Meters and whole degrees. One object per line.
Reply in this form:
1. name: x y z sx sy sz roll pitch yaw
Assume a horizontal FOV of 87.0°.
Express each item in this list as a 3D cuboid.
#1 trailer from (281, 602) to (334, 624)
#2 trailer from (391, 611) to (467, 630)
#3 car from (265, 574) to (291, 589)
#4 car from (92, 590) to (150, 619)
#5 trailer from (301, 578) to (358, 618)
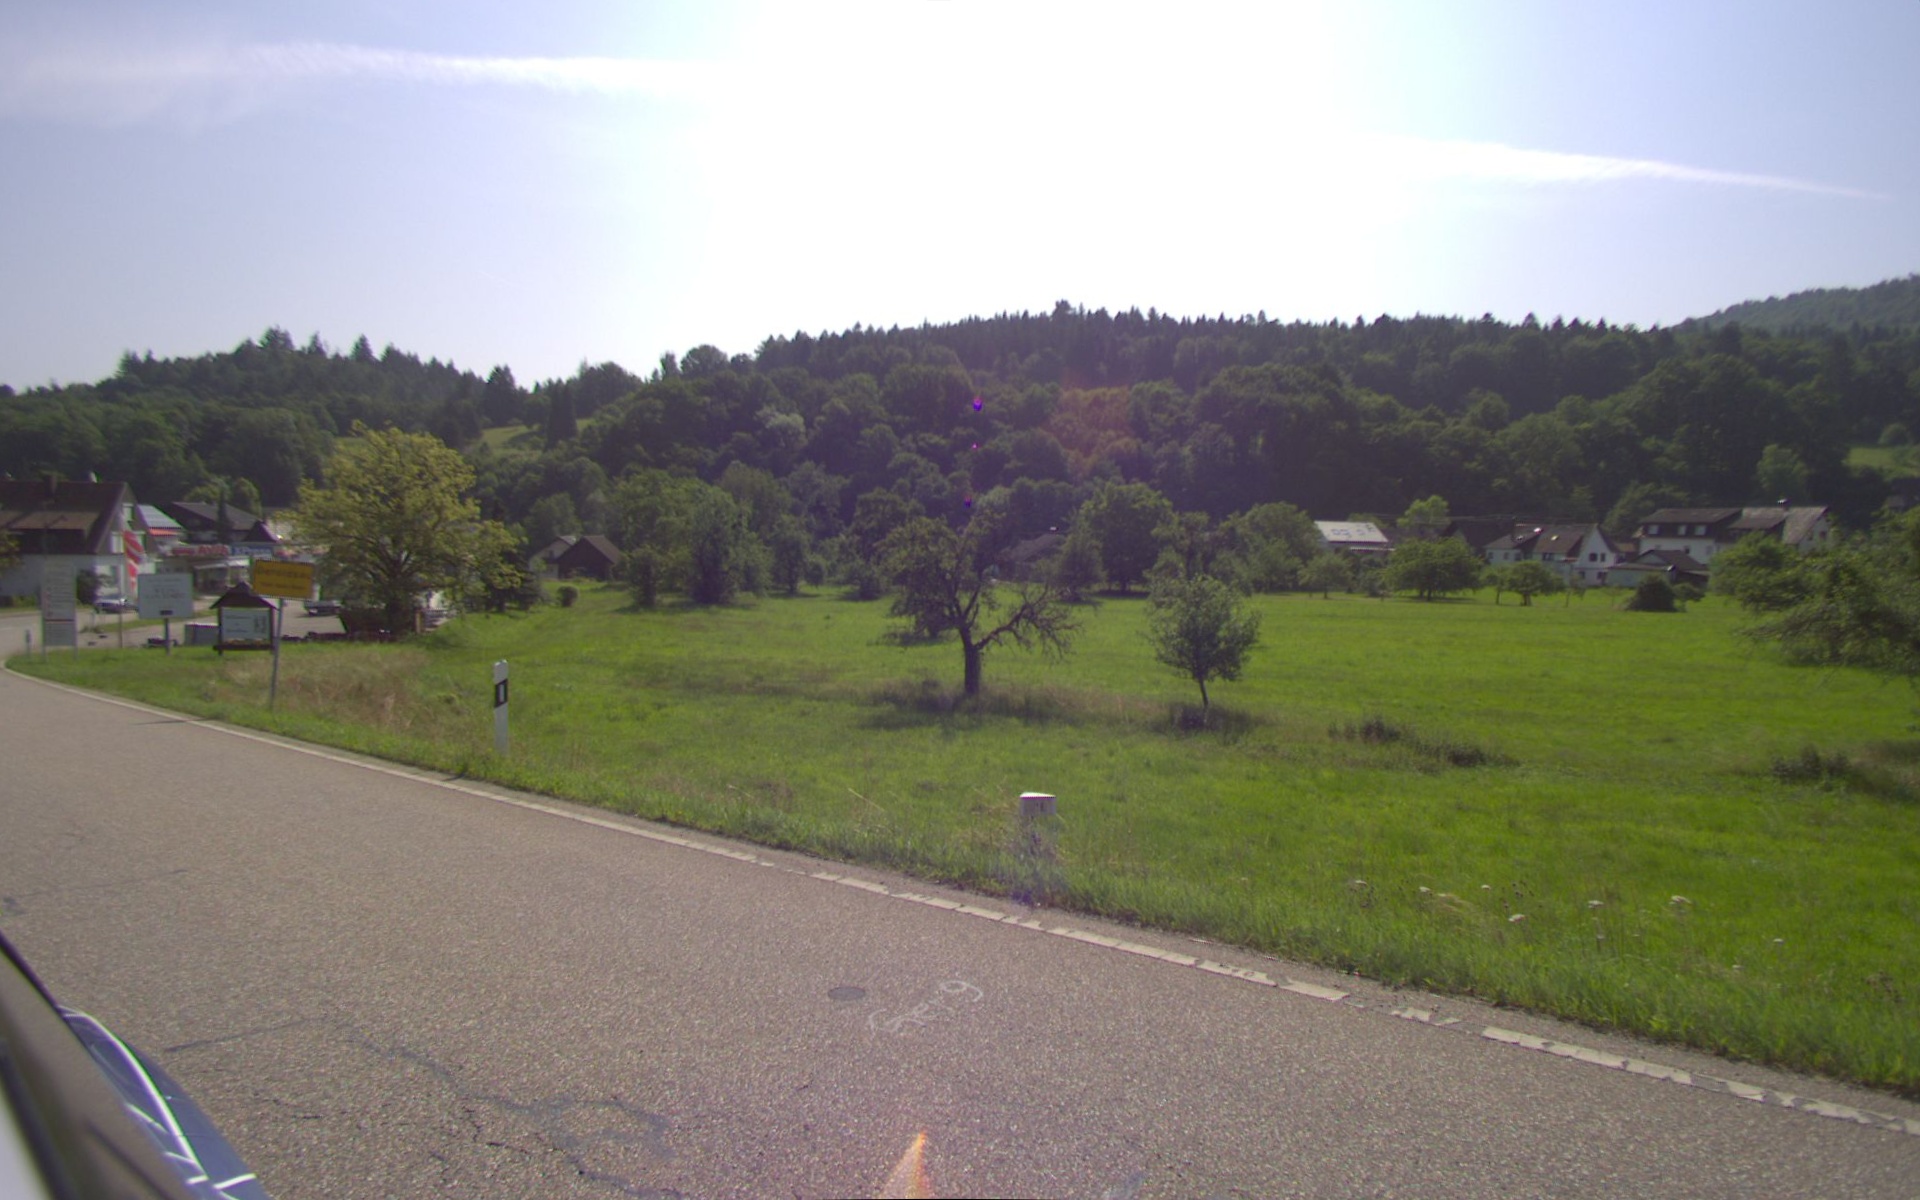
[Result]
1. trailer: -45.980 0.905 71.441 1.965 1.235 5.565 -1 3 -20
2. trailer: -33.036 1.289 63.075 3.877 0.946 1.874 -1 3 -18
3. car: -91.128 -2.481 135.188 1.657 1.829 4.013 -2 3 -16
4. car: -60.822 0.300 73.460 1.738 1.758 3.993 -1 4 -16
5. trailer: -47.663 -0.171 76.607 3.343 2.933 1.890 -2 2 -23
